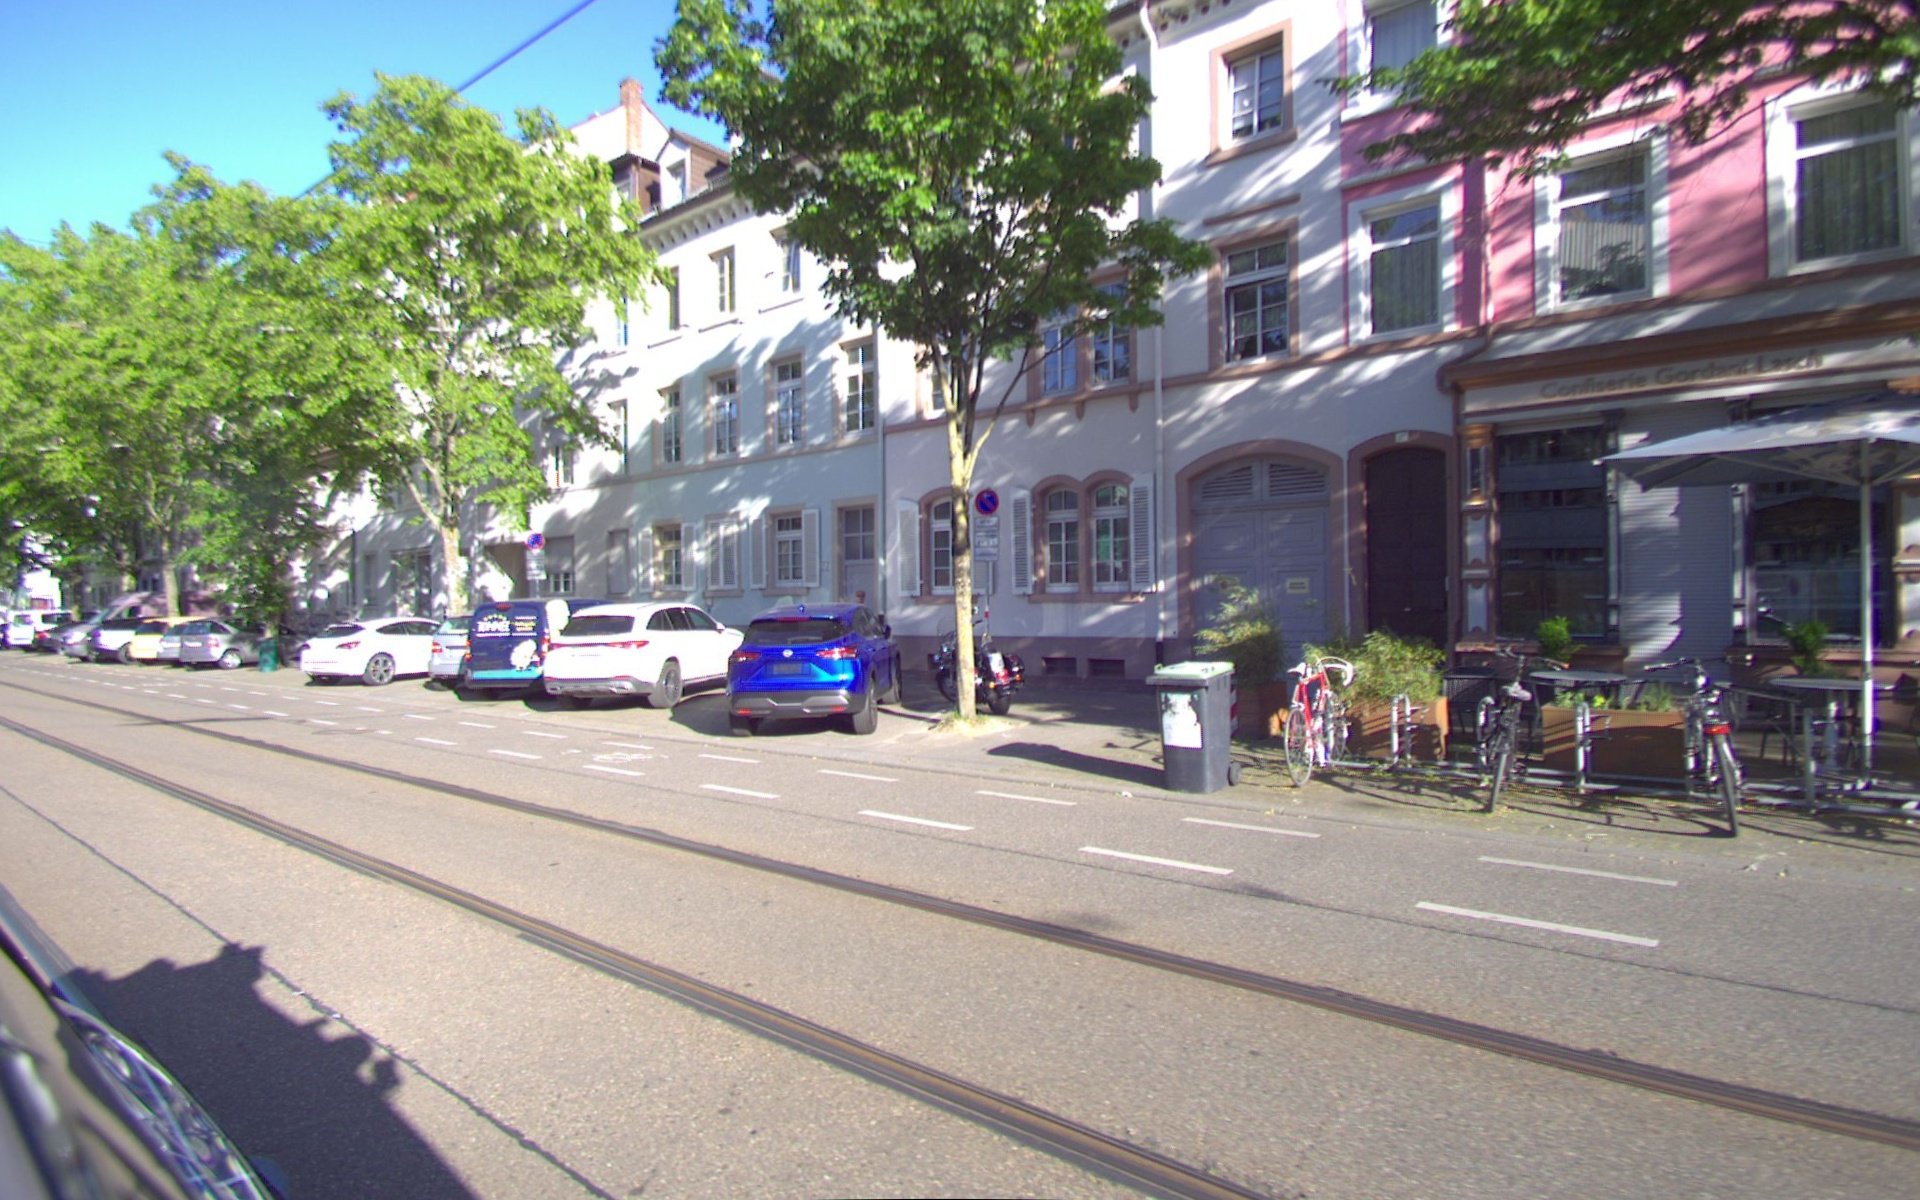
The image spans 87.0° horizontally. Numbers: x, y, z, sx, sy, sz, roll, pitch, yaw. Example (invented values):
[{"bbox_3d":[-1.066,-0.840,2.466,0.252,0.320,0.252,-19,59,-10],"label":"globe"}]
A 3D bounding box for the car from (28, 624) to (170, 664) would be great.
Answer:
[{"bbox_3d":[-39.962,2.010,47.078,1.950,1.588,4.655,-2,0,35],"label":"car"}]

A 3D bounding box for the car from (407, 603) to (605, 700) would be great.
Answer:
[{"bbox_3d":[-9.396,1.006,21.335,1.791,1.669,3.986,-3,1,11],"label":"car"}]

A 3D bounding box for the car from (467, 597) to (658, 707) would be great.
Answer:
[{"bbox_3d":[-7.370,0.894,19.133,1.716,1.856,3.431,-1,0,13],"label":"car"}]

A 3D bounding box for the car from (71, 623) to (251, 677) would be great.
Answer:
[{"bbox_3d":[-28.987,1.746,36.873,2.160,1.737,4.784,-1,-1,37],"label":"car"}]

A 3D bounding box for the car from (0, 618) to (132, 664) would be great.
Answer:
[{"bbox_3d":[-43.311,1.930,48.833,2.056,2.029,4.915,-1,-1,16],"label":"car"}]

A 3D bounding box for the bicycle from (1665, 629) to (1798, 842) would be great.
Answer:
[{"bbox_3d":[5.403,0.846,7.039,0.567,1.095,1.982,-1,3,42],"label":"bicycle"}]

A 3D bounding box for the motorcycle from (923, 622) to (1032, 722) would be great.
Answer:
[{"bbox_3d":[0.183,0.950,14.141,0.714,1.263,2.608,0,-2,-18],"label":"motorcycle"}]

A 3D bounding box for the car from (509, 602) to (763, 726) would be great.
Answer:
[{"bbox_3d":[-5.304,0.964,17.439,2.184,1.808,4.926,-1,0,9],"label":"car"}]

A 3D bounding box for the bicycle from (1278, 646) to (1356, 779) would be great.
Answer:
[{"bbox_3d":[3.248,0.967,9.147,0.387,0.995,1.589,-2,1,29],"label":"bicycle"}]

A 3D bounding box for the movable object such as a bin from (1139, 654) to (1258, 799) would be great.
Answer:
[{"bbox_3d":[2.015,1.031,8.541,0.709,1.086,0.677,-2,2,41],"label":"movable object such as a bin"}]

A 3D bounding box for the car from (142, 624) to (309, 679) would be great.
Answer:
[{"bbox_3d":[-23.782,1.607,32.942,1.692,1.564,4.139,-1,0,24],"label":"car"}]

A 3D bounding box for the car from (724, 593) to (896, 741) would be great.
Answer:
[{"bbox_3d":[-1.882,0.776,13.821,1.552,1.621,3.899,-2,1,3],"label":"car"}]

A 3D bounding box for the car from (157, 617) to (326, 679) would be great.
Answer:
[{"bbox_3d":[-21.874,1.419,30.993,1.689,1.689,3.974,-1,0,19],"label":"car"}]

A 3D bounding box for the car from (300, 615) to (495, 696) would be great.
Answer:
[{"bbox_3d":[-12.974,1.222,23.590,1.872,1.541,3.624,-1,2,20],"label":"car"}]

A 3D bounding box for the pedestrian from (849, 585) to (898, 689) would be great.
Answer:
[{"bbox_3d":[-1.583,0.673,18.471,0.624,1.852,0.637,-1,-2,41],"label":"pedestrian"}]

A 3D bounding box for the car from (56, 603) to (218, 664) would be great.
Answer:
[{"bbox_3d":[-31.183,1.224,38.458,2.160,2.134,4.395,-1,0,37],"label":"car"}]

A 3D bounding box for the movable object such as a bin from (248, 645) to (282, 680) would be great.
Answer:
[{"bbox_3d":[-19.586,1.742,28.513,0.669,0.952,0.615,-1,-2,38],"label":"movable object such as a bin"}]

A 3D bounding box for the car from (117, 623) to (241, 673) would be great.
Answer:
[{"bbox_3d":[-26.647,1.608,34.645,1.369,1.565,3.366,-1,-1,9],"label":"car"}]

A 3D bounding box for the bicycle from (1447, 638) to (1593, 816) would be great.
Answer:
[{"bbox_3d":[4.441,0.919,7.955,0.568,1.087,1.947,-1,2,42],"label":"bicycle"}]

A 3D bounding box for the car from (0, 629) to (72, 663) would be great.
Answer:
[{"bbox_3d":[-50.056,2.427,53.844,1.761,1.570,3.988,-1,1,9],"label":"car"}]
